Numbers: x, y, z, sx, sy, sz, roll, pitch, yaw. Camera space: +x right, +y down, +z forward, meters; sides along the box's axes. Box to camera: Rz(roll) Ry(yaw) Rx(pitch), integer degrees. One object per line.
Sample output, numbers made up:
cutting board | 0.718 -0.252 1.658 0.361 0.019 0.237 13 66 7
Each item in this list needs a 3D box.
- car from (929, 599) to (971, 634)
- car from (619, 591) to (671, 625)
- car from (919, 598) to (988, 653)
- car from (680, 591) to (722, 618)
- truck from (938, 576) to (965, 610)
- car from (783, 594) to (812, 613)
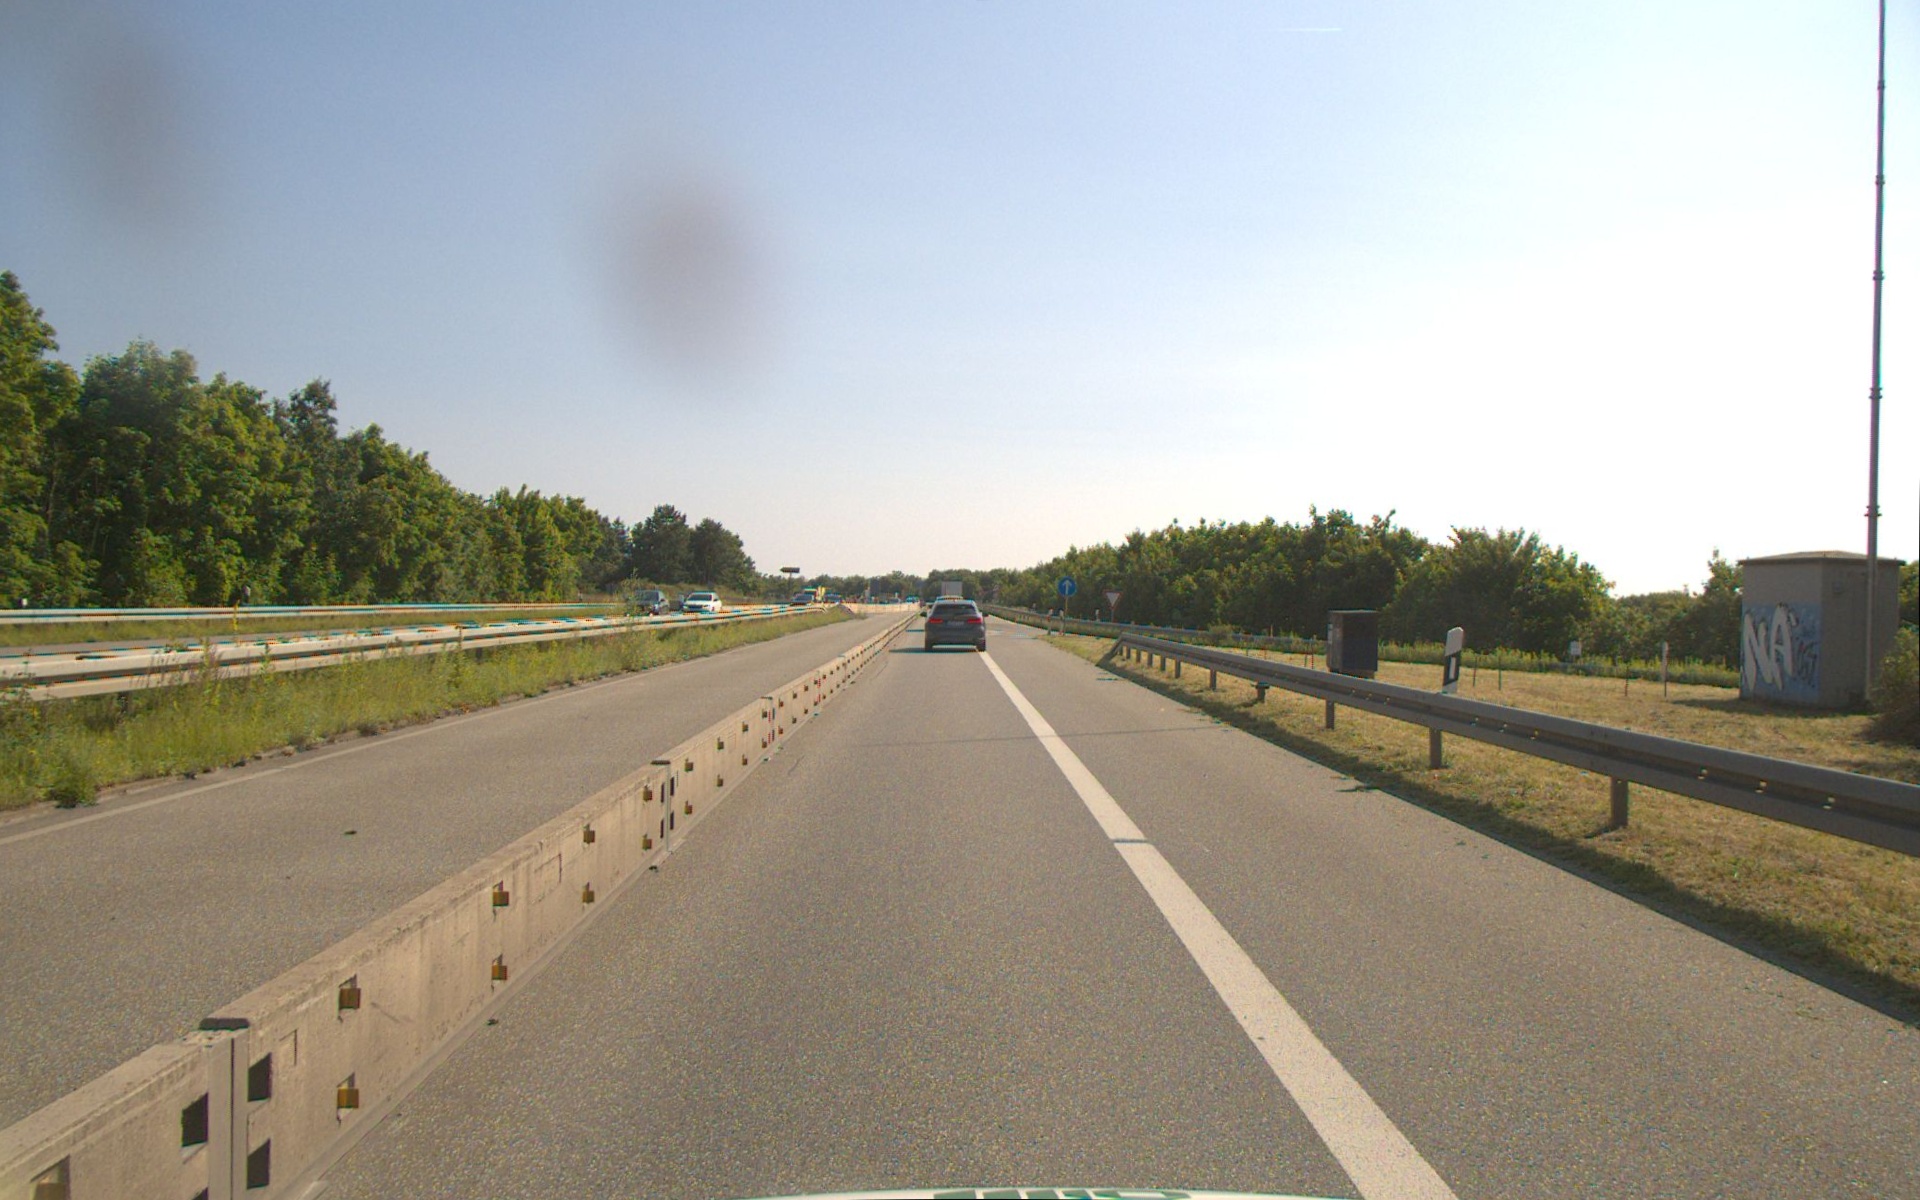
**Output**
car | -0.488 0.750 78.636 1.953 1.594 4.000 0 0 0
car | -15.035 0.364 79.113 1.703 1.520 4.108 1 0 -1
car | -0.221 0.717 48.185 1.882 1.520 3.998 0 0 -2
car | -14.792 0.254 94.766 1.724 1.496 4.793 2 0 -1
truck | -1.322 -1.053 248.943 3.685 4.997 14.132 1 0 -1
car | -13.334 0.270 135.682 1.778 1.514 5.024 -1 0 1
